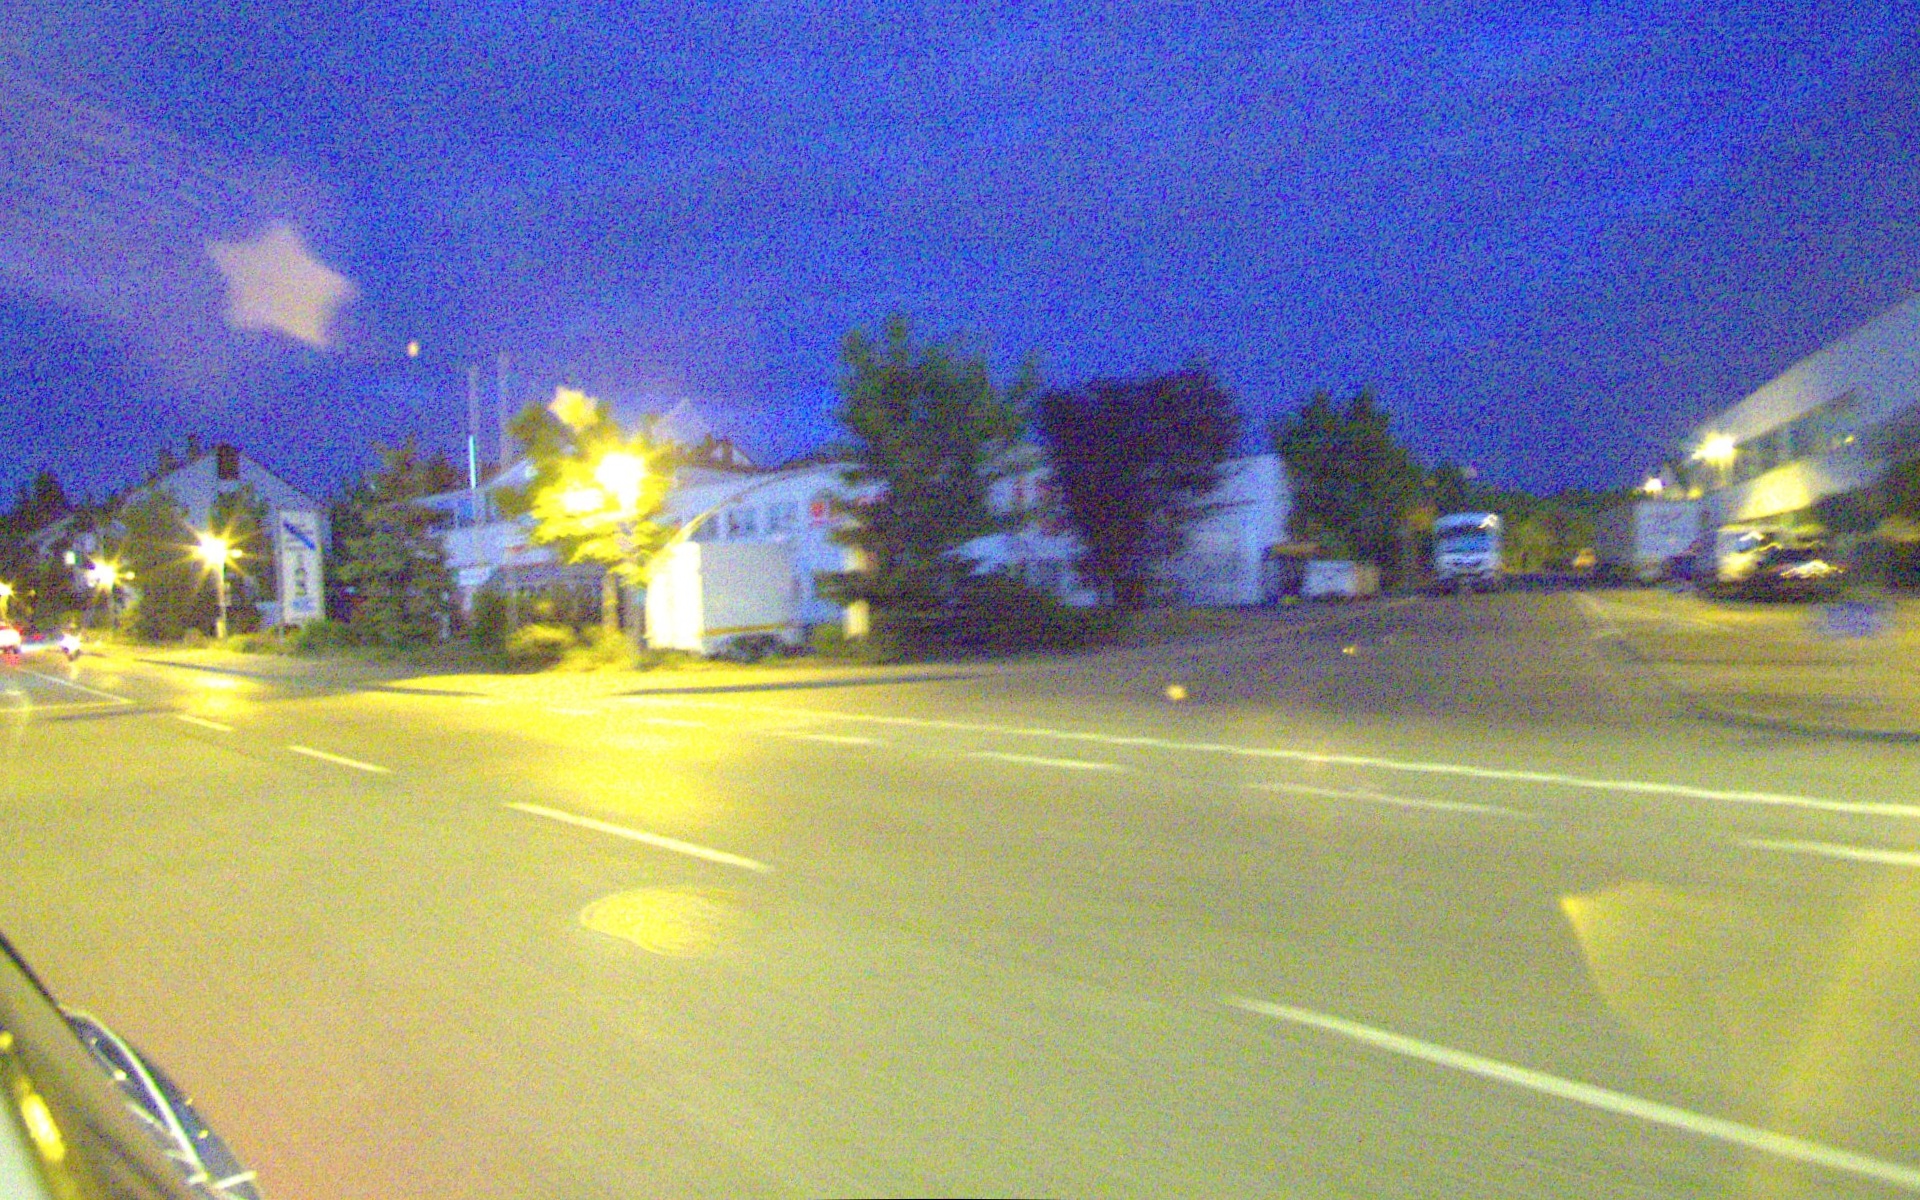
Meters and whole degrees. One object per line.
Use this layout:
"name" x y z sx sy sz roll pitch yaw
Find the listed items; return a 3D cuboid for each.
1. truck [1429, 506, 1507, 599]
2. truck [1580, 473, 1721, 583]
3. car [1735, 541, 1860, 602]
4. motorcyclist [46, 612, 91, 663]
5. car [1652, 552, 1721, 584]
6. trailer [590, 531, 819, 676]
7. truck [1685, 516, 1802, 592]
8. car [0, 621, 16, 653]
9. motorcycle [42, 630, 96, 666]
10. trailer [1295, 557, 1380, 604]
"truck" 24.248 -2.019 48.093 2.861 3.755 9.510 -2 -2 28
"truck" 36.511 -3.504 54.411 3.460 4.846 17.253 -3 0 25
"car" 24.807 -0.842 30.147 1.901 1.601 4.309 -2 1 27
"motorcyclist" -34.954 1.457 39.677 0.832 1.914 1.124 -2 0 36
"car" 30.909 -1.340 43.167 1.772 1.253 3.538 -2 0 26
"trailer" -5.290 0.113 21.352 1.999 2.741 4.303 -3 -2 41
"truck" 27.719 -1.585 36.002 2.151 2.407 5.001 -2 1 25
"car" -51.030 1.957 52.939 4.750 1.639 1.973 -2 0 41
"motorcycle" -34.938 1.860 39.667 2.821 1.314 0.988 -2 0 36
"trailer" 14.478 -0.787 38.621 1.874 1.634 5.182 -2 1 33
